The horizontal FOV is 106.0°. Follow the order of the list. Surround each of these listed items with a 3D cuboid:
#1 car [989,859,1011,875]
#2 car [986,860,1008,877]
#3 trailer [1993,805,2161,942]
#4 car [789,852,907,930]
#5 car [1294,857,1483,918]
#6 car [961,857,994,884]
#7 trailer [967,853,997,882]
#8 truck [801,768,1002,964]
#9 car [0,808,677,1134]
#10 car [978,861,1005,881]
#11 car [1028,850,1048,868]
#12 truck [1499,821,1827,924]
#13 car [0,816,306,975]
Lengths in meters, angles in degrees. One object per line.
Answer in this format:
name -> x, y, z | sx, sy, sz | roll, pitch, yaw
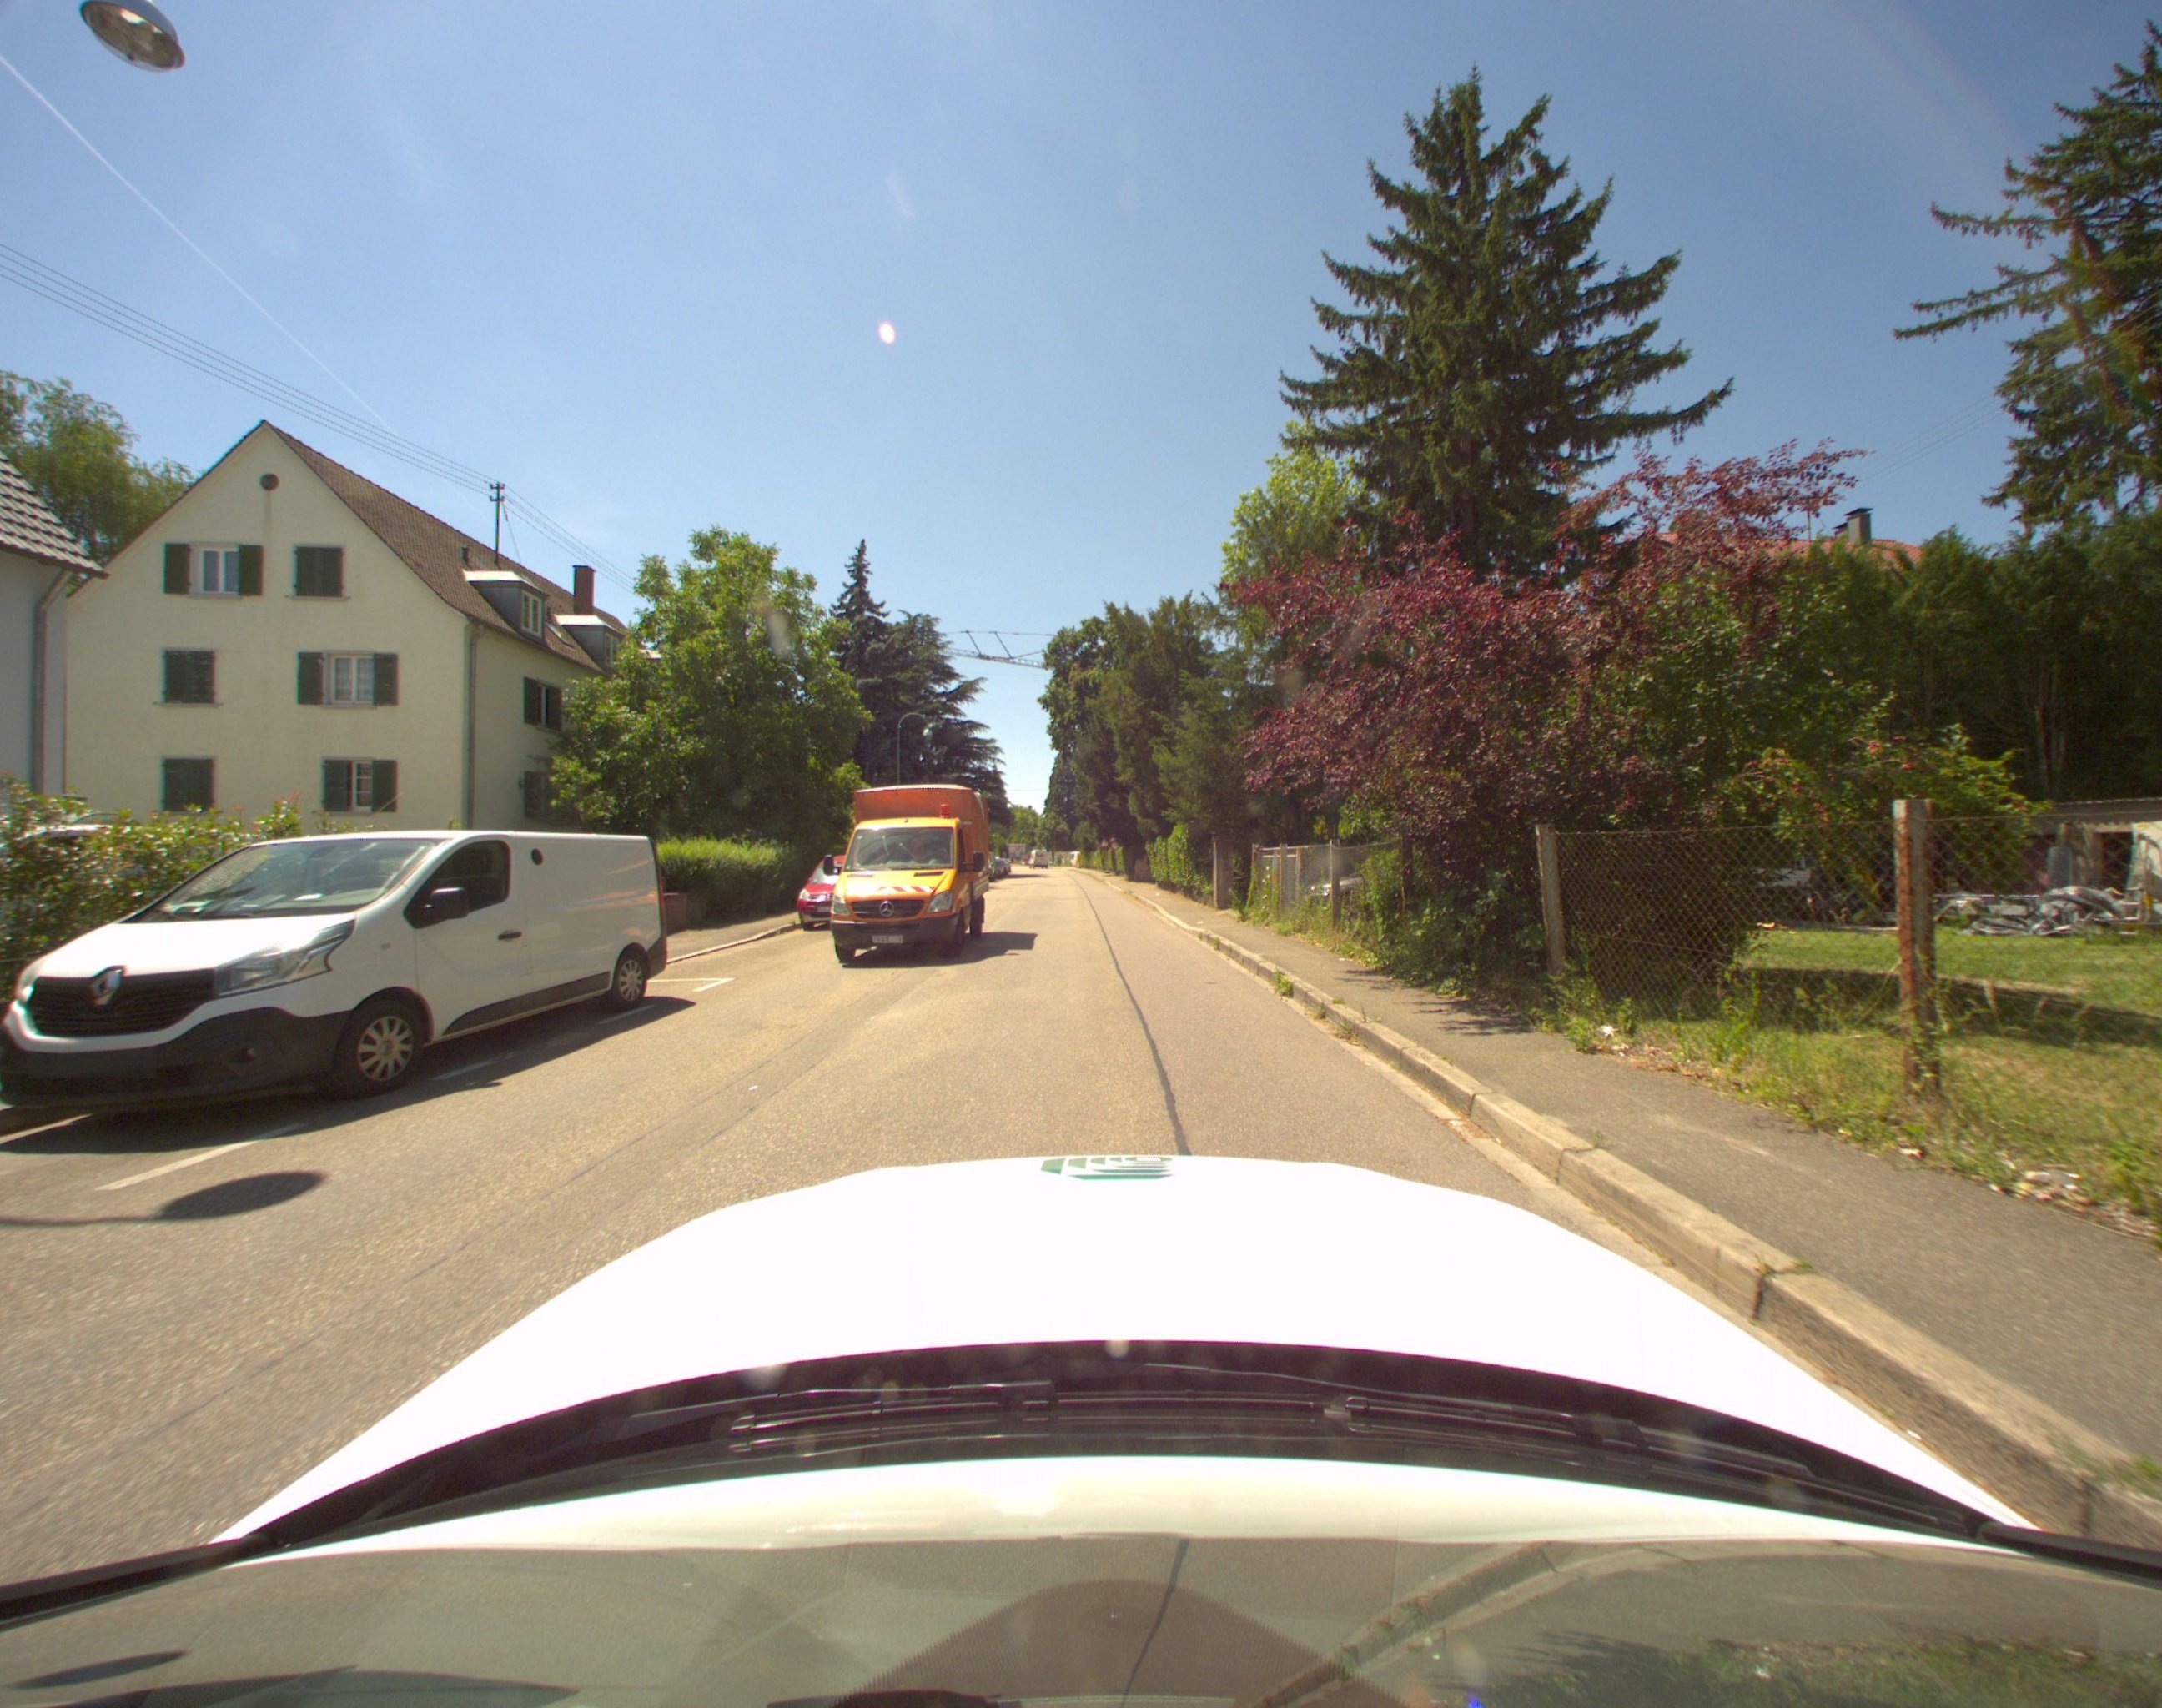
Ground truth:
car -> -7.616, 1.219, 76.650 | 1.684, 1.444, 4.132 | -2, 0, -2
car -> -7.378, 1.253, 71.679 | 1.578, 1.390, 3.880 | -1, -1, -2
trailer -> 17.034, 0.353, 12.234 | 3.965, 1.936, 2.086 | 0, -5, 7
car -> -5.794, 0.850, 20.812 | 1.753, 1.727, 4.455 | -2, 0, -1
car -> 7.168, 0.761, 19.269 | 3.847, 1.380, 1.767 | 0, 0, 1
car -> -6.949, 1.114, 55.269 | 1.847, 1.671, 4.706 | -2, 0, -4
trailer -> -7.245, 0.976, 59.695 | 1.844, 2.040, 4.157 | -2, -1, -4
truck -> -2.914, 0.187, 14.805 | 2.366, 2.830, 5.657 | -1, 0, 0
car -> -5.816, 0.730, 7.278 | 1.880, 1.881, 4.980 | -1, -1, 0
car -> -7.160, 1.324, 65.321 | 1.705, 1.439, 4.319 | -2, 0, -2
car -> -6.023, 0.676, 113.530 | 2.143, 2.315, 4.837 | -2, 0, -10
truck -> 13.711, 0.426, 19.390 | 6.597, 2.167, 1.977 | 1, 0, -4
car -> -13.361, 0.494, 10.930 | 1.705, 1.870, 4.009 | 1, -1, 9
